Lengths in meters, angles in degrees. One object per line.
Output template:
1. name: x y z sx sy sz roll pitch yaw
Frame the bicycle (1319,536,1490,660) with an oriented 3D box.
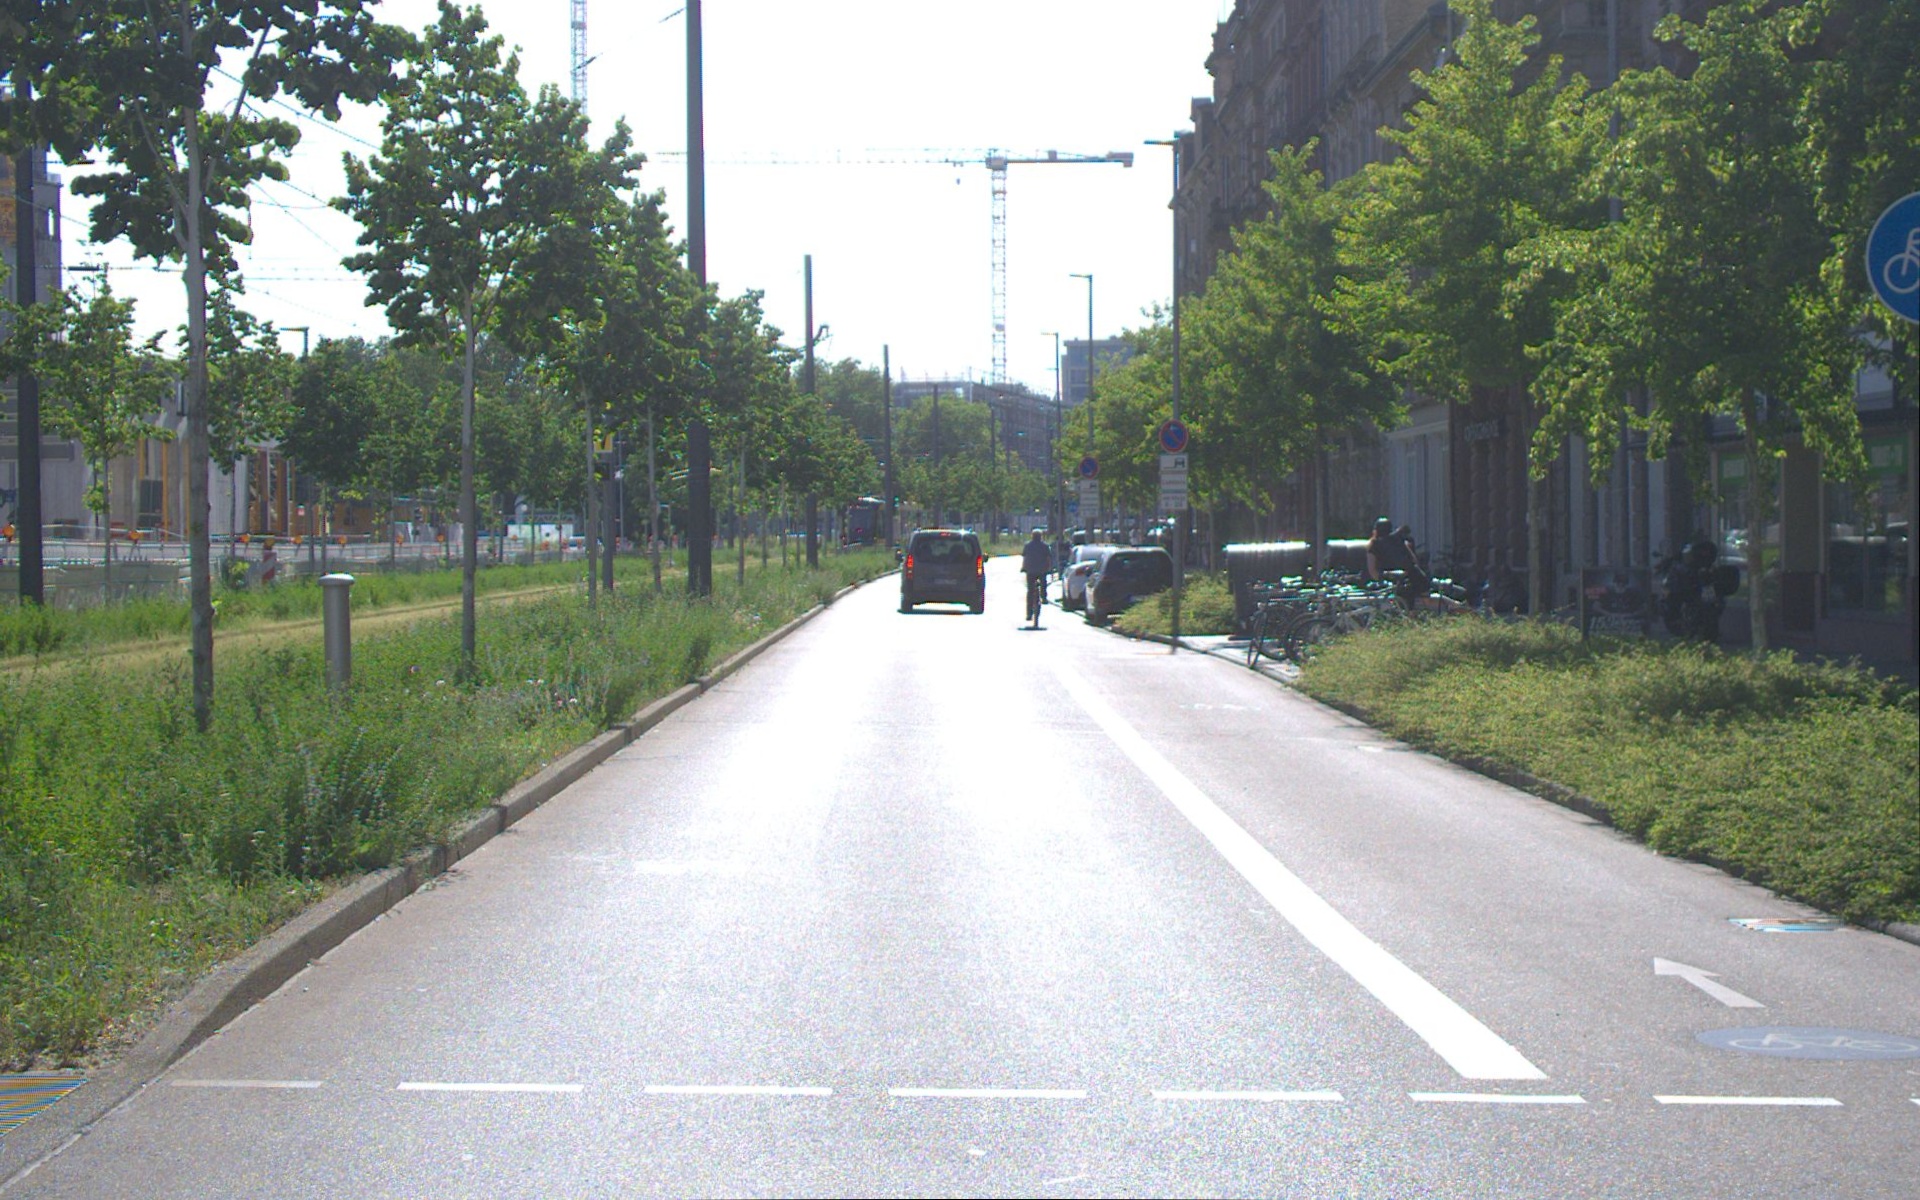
1. bicycle: 5.325 -0.025 41.267 1.894 1.326 0.617 -4 1 3

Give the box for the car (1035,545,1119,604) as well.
1. car: 3.115 -0.707 92.295 2.028 1.493 4.530 -1 1 -1

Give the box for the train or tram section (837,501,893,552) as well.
1. train or tram section: -5.442 -4.198 198.311 2.756 2.733 9.864 1 0 1

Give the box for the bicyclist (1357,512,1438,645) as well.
1. bicyclist: 5.244 -0.262 41.244 0.798 1.525 0.662 -4 1 3

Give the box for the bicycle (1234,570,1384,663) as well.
1. bicycle: 4.452 0.207 43.939 1.792 1.027 0.527 -5 1 0

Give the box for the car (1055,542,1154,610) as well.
1. car: 3.324 -0.575 79.767 2.028 1.493 4.530 -1 1 -1

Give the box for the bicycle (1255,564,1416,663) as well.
1. bicycle: 4.471 0.163 40.992 1.792 1.027 0.527 -5 1 0

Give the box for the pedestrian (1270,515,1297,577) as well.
1. pedestrian: 8.416 -1.396 89.386 0.614 1.606 0.669 -1 1 -1

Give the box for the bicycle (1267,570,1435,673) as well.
1. bicycle: 4.497 0.246 39.594 1.792 1.027 0.527 -5 1 0

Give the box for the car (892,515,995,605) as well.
1. car: -0.396 -0.906 76.376 2.200 1.919 4.654 -1 1 -1

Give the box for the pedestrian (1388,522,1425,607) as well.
1. pedestrian: 8.569 -0.689 66.041 0.614 1.606 0.669 -1 1 -1

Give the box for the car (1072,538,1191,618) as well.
1. car: 3.319 -0.458 67.366 2.028 1.493 4.654 -1 1 -1

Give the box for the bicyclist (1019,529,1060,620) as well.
1. bicyclist: 1.483 -0.484 64.439 0.684 1.667 0.922 2 1 -1

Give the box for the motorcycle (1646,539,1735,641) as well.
1. motorcycle: 9.372 -0.138 44.151 0.700 1.263 1.982 -1 1 -1

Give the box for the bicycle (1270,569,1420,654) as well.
1. bicycle: 4.757 0.134 42.499 1.792 1.027 0.527 0 1 0

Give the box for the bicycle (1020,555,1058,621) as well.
1. bicycle: 1.463 -0.229 64.145 0.601 1.177 1.869 2 1 -1
